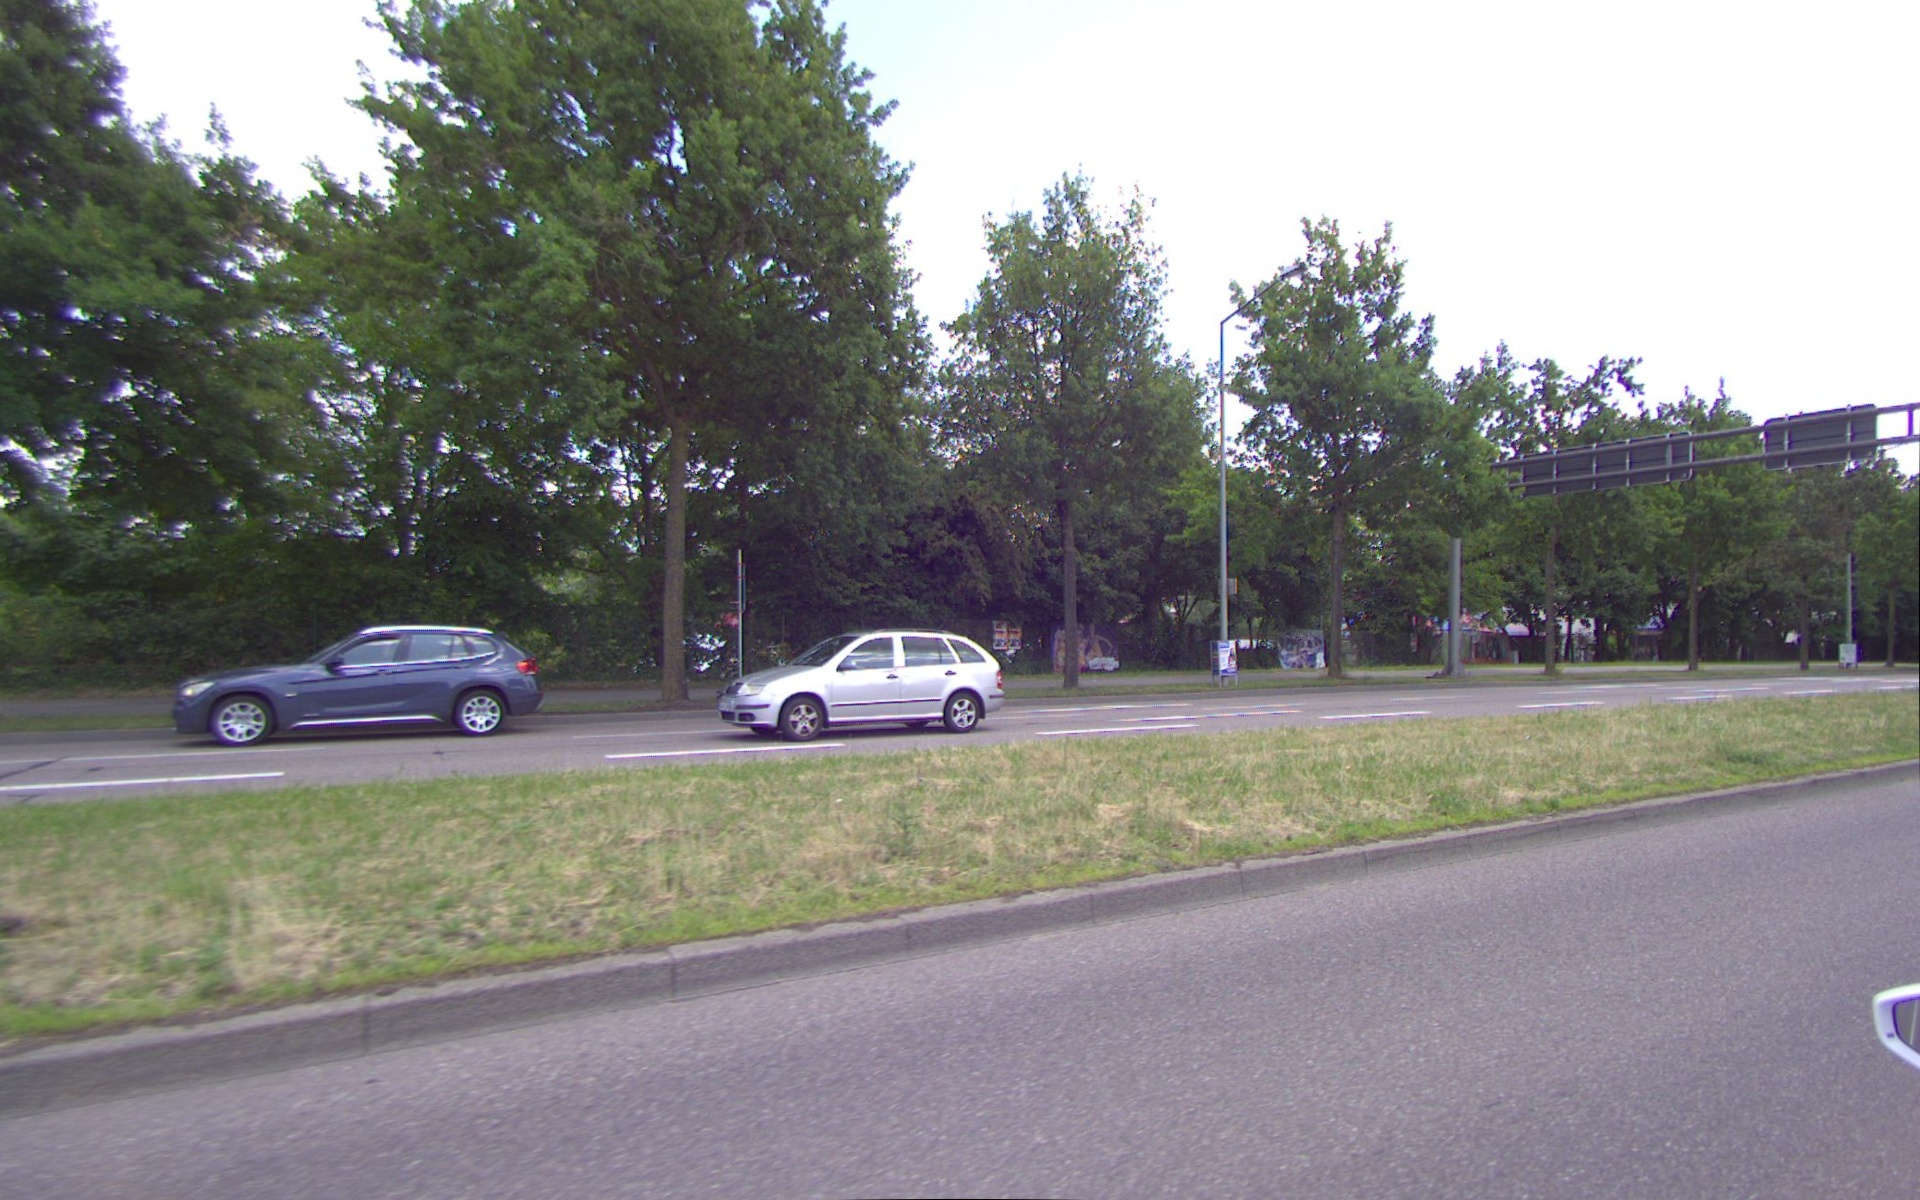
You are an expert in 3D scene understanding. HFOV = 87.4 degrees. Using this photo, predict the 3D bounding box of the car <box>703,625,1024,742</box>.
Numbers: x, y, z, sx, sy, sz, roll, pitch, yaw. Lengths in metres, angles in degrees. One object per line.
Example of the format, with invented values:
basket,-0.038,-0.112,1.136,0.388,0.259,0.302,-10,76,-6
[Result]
car,-1.335,1.137,14.402,4.258,1.459,1.755,2,-3,-30

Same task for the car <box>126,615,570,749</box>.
car,-8.223,1.096,14.015,4.974,1.597,1.755,2,-4,-31
